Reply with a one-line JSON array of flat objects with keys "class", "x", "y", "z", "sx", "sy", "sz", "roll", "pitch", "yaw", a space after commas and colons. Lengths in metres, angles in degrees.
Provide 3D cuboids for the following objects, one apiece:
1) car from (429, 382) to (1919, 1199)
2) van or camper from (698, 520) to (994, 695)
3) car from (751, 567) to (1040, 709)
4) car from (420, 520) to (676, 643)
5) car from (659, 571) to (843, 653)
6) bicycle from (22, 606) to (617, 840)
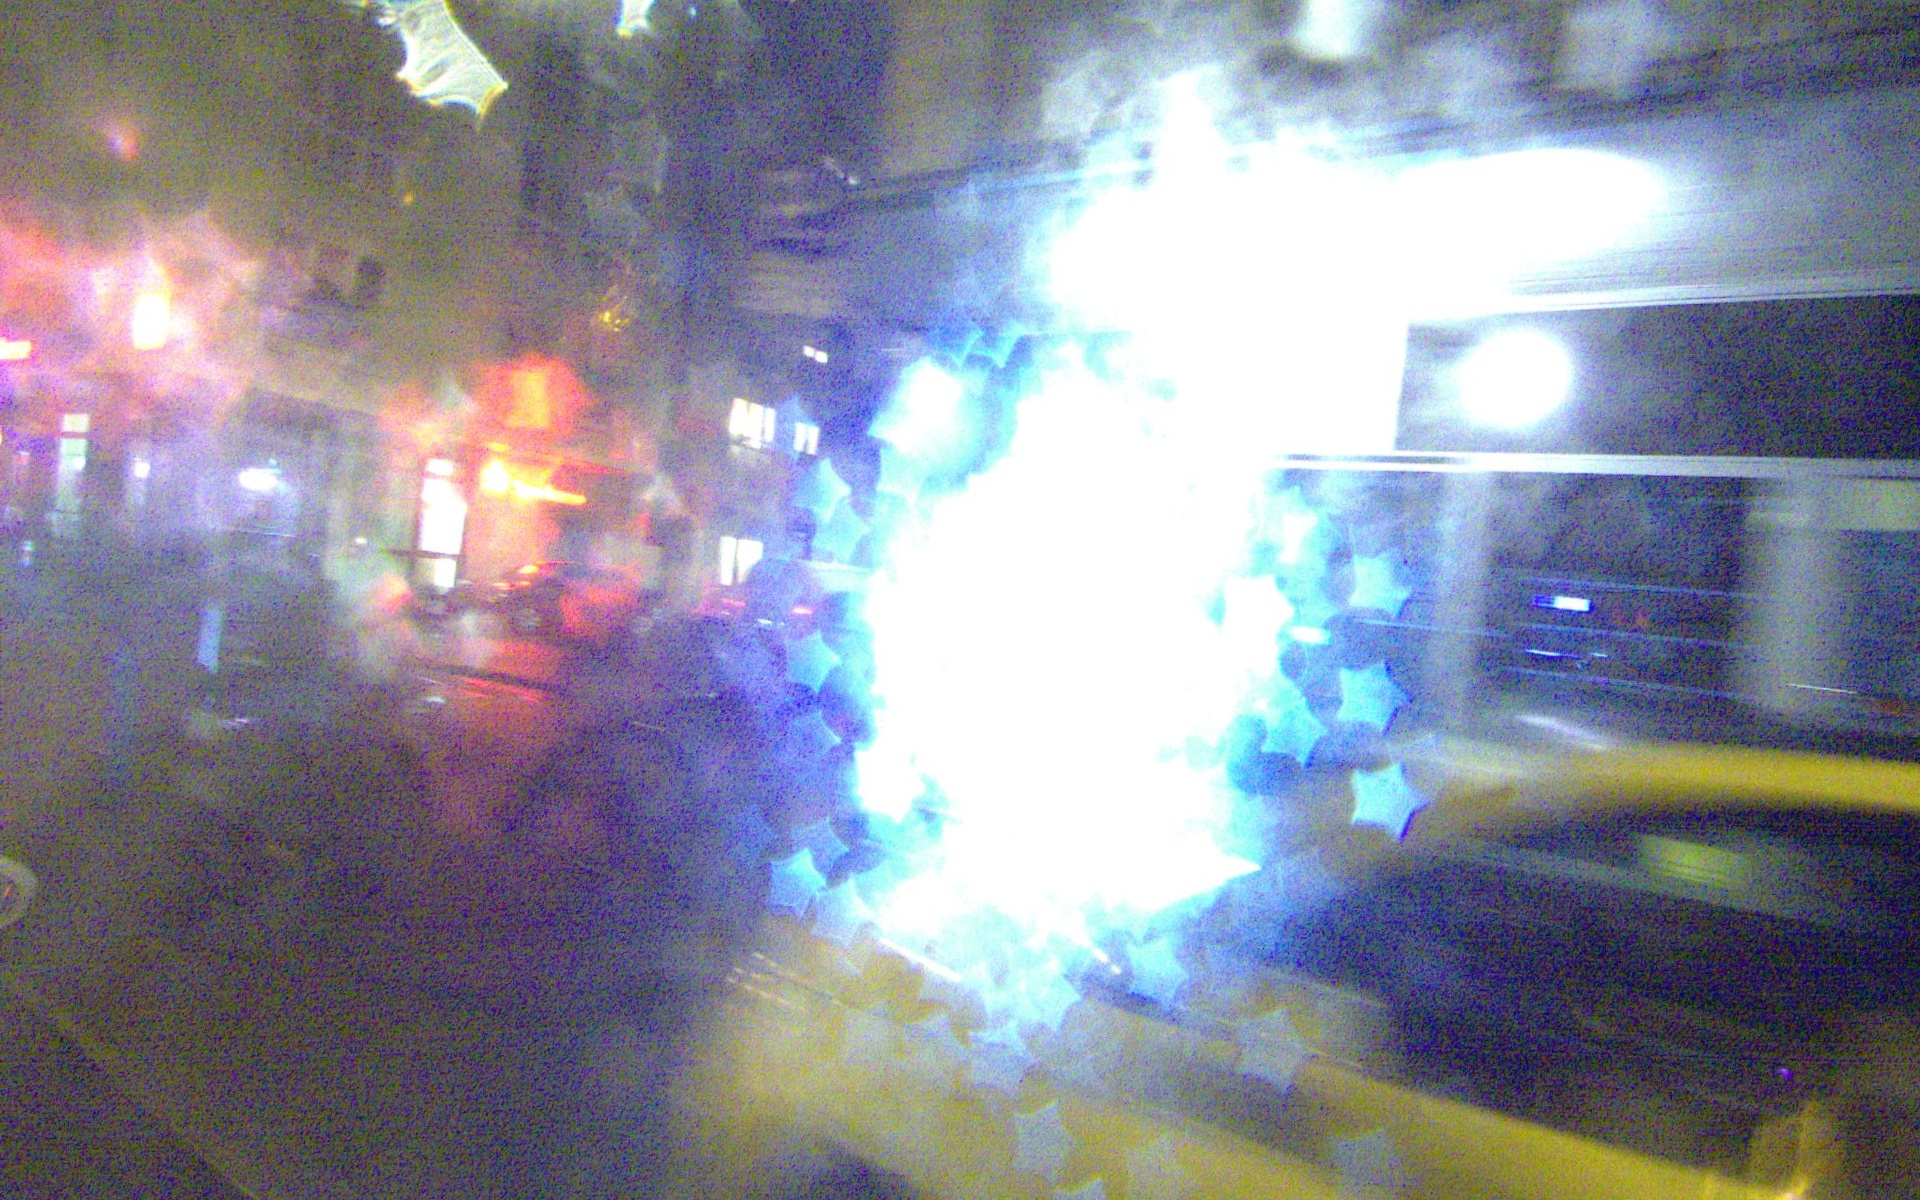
[{"class": "car", "x": 1.043, "y": 0.704, "z": 1.696, "sx": 3.792, "sy": 1.744, "sz": 1.673, "roll": 7, "pitch": 1, "yaw": 32}, {"class": "van or camper", "x": -1.794, "y": 0.274, "z": 17.911, "sx": 2.085, "sy": 2.425, "sz": 5.324, "roll": 6, "pitch": -3, "yaw": 34}, {"class": "car", "x": -0.714, "y": 0.604, "z": 13.840, "sx": 1.864, "sy": 1.502, "sz": 3.993, "roll": 7, "pitch": -1, "yaw": 32}, {"class": "car", "x": -7.757, "y": -0.280, "z": 19.349, "sx": 1.812, "sy": 1.791, "sz": 4.152, "roll": 7, "pitch": -1, "yaw": 32}, {"class": "car", "x": -4.855, "y": 0.345, "z": 23.908, "sx": 1.812, "sy": 1.451, "sz": 4.152, "roll": 7, "pitch": -1, "yaw": 32}, {"class": "bicycle", "x": -2.918, "y": 0.598, "z": 4.875, "sx": 2.248, "sy": 0.905, "sz": 0.613, "roll": 6, "pitch": 1, "yaw": -30}]
